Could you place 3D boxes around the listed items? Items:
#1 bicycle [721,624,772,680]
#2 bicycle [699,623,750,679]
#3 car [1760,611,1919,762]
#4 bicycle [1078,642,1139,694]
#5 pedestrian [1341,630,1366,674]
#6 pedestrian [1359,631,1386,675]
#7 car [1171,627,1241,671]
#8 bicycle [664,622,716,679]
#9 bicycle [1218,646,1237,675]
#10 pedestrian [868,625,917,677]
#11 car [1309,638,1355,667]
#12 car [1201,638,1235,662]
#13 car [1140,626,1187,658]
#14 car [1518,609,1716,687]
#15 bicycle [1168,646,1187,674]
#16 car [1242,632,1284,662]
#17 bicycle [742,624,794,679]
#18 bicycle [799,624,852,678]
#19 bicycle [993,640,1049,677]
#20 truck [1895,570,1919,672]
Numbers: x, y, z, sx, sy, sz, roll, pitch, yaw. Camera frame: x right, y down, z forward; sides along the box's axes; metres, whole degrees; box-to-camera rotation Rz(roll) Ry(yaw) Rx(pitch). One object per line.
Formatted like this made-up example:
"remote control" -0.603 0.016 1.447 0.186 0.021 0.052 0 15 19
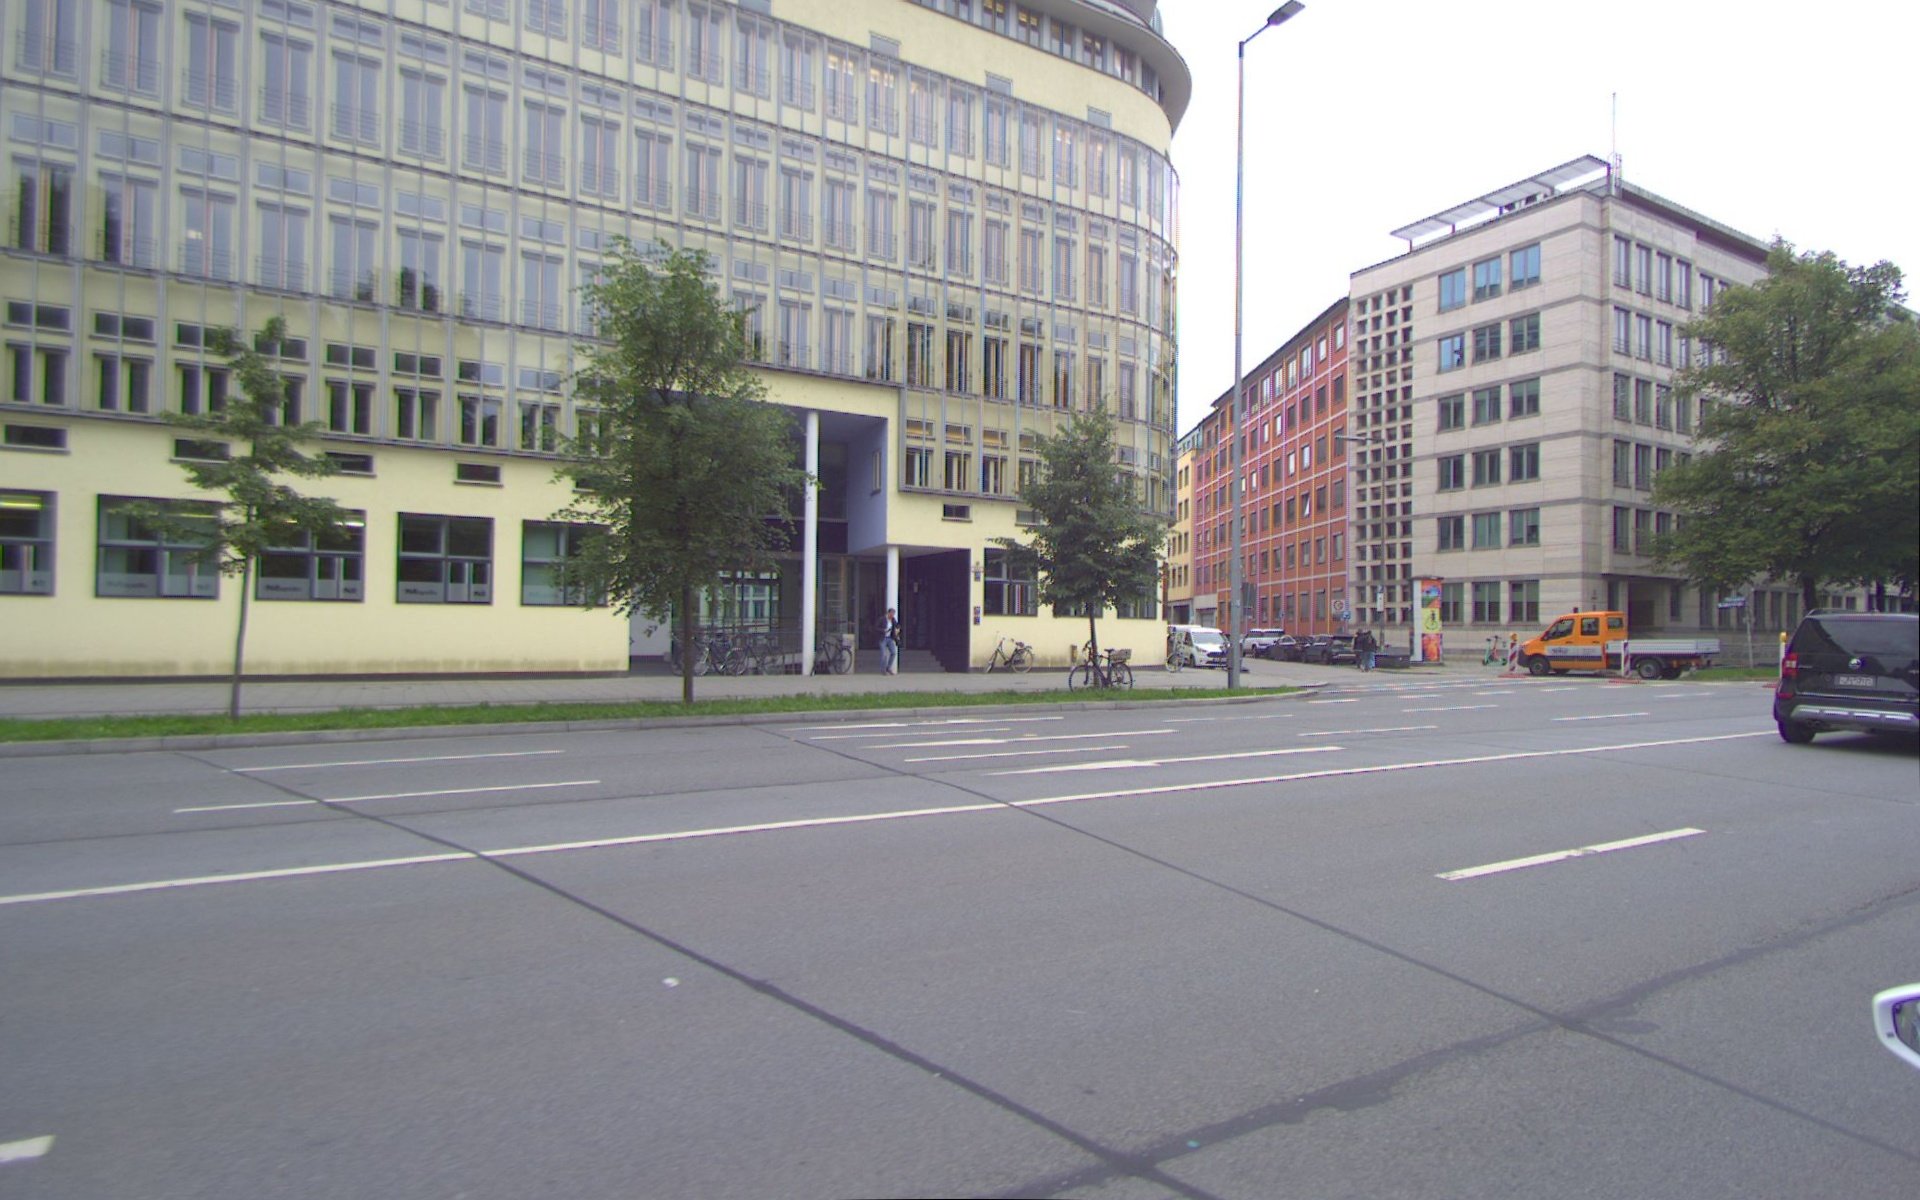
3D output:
"bicycle" -5.584 1.334 26.203 0.569 1.336 1.995 2 0 -34
"bicycle" -6.078 1.294 25.846 0.569 1.336 1.995 2 0 -34
"car" 12.028 1.028 12.641 4.156 1.658 1.714 2 -2 -31
"bicycle" 3.043 1.382 20.549 1.370 1.026 0.279 2 0 -34
"pedestrian" 16.567 2.179 42.290 0.665 1.798 0.680 2 0 -25
"pedestrian" 17.195 2.205 41.886 0.773 1.798 0.680 2 0 -26
"car" 10.385 2.040 42.714 1.833 1.773 4.329 1 -2 -1
"bicycle" -6.903 1.261 25.612 0.632 1.336 1.995 2 0 -34
"bicycle" 10.147 2.265 38.119 0.574 1.034 1.847 0 -2 12
"pedestrian" -1.854 1.391 27.419 1.073 1.382 0.833 1 -2 -30
"car" 18.555 2.596 50.186 1.441 1.393 3.241 1 -2 7
"car" 18.237 3.510 71.118 1.460 1.612 3.183 1 -2 -2
"car" 10.222 2.106 50.592 1.460 1.517 3.965 1 -2 -2
"car" 23.527 1.666 36.225 2.134 2.570 5.648 2 -2 -33
"bicycle" 7.312 2.002 33.797 0.574 0.889 1.738 0 -2 12
"car" 18.184 2.814 60.426 1.460 1.686 3.183 1 -2 -2
"bicycle" -5.088 1.335 26.566 0.569 1.336 1.995 2 0 -34
"bicycle" -3.667 1.367 27.330 0.569 1.336 1.995 2 0 -34
"bicycle" 1.769 1.703 29.170 1.577 1.026 0.569 2 0 -34
"truck" 39.773 0.904 39.379 7.587 3.825 2.898 2 0 -34
